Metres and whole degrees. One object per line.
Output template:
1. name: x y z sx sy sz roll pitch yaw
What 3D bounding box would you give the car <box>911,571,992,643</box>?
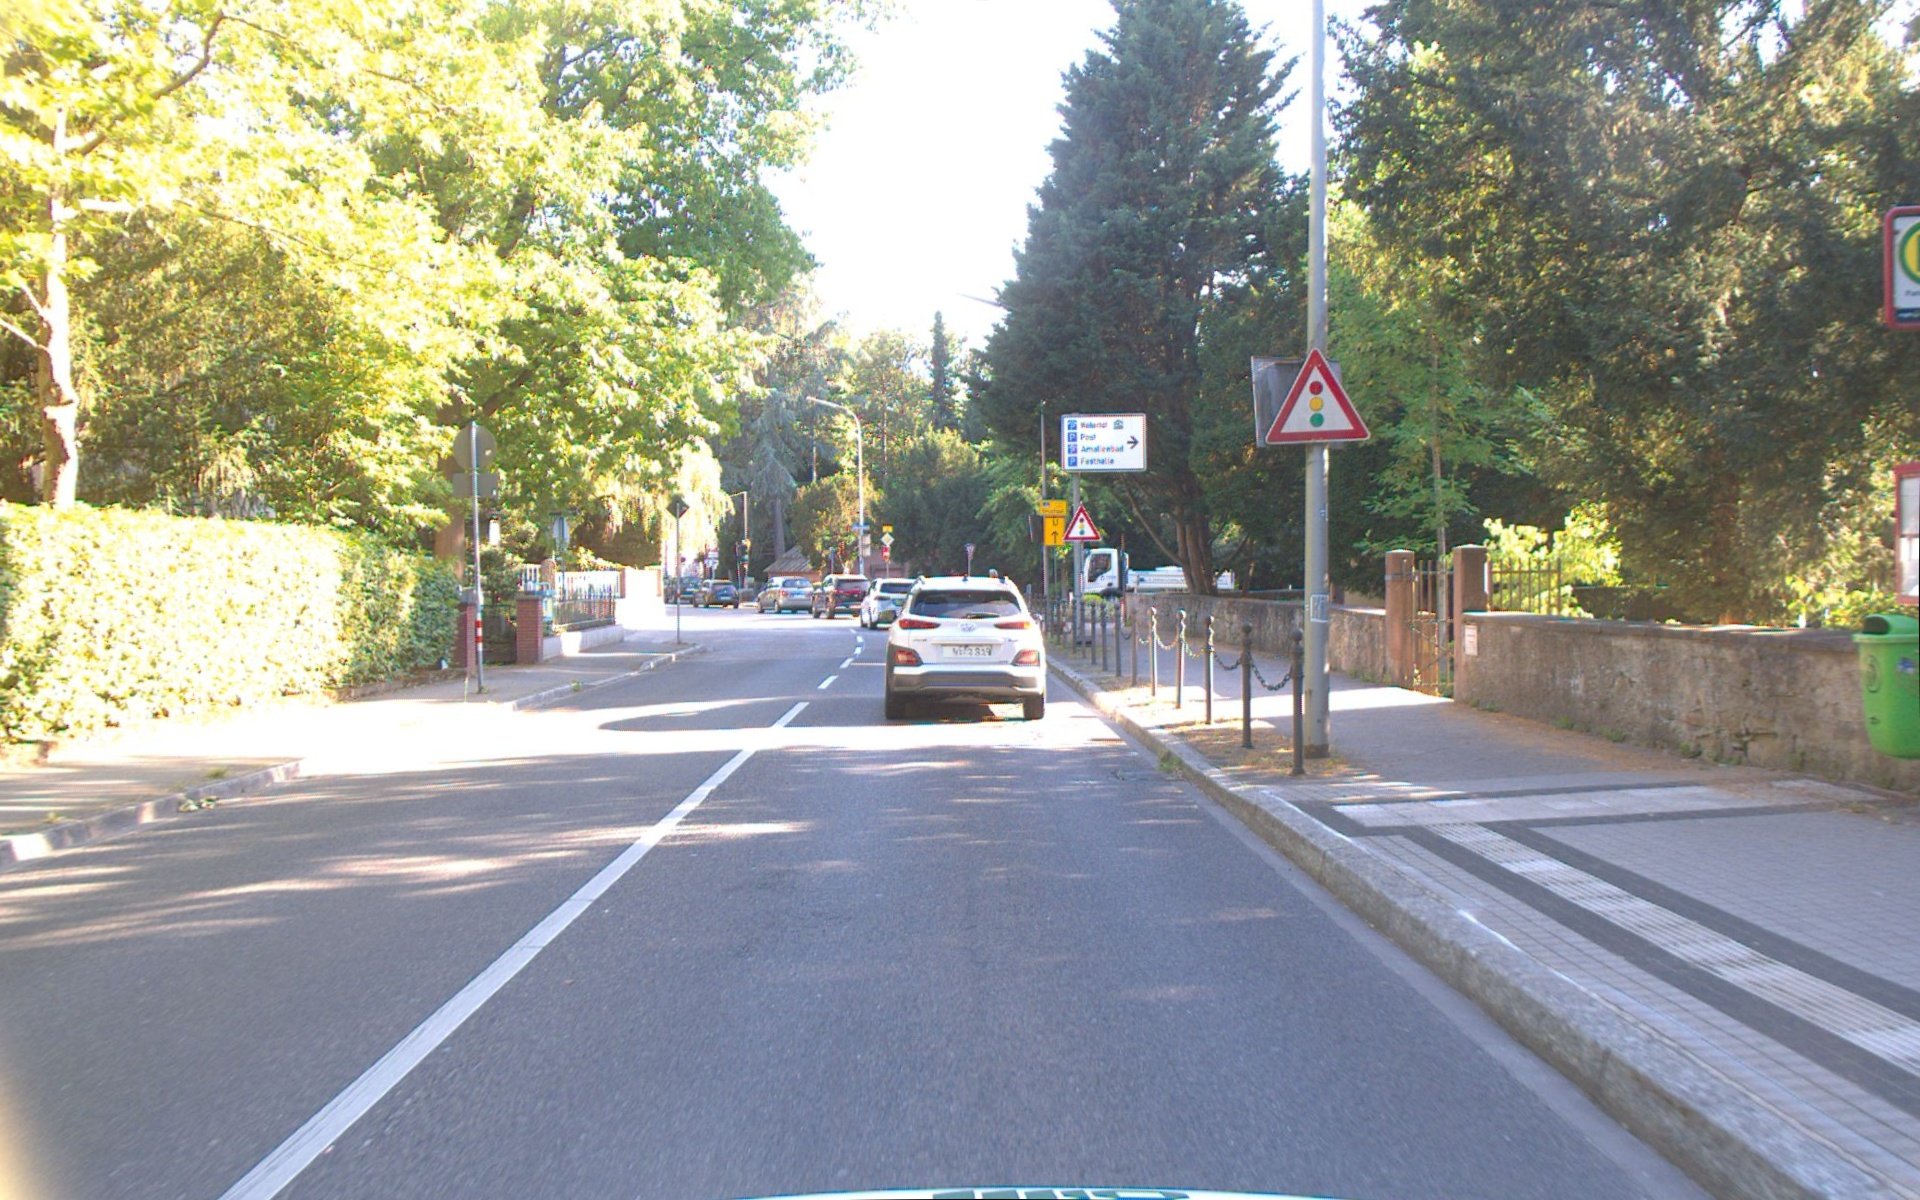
1. car: -0.219 0.117 36.957 1.673 1.459 4.364 1 1 -1

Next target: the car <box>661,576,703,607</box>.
1. car: -16.285 -0.497 96.743 1.804 1.691 3.978 1 1 -19

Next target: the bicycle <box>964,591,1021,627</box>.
1. bicycle: 0.997 0.268 50.808 1.799 1.061 0.554 1 2 -39

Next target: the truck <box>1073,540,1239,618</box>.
1. truck: 7.782 -0.837 66.318 6.449 2.945 2.434 1 1 4

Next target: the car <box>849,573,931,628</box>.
1. car: -2.175 -0.016 50.305 1.774 1.564 3.987 1 1 -13

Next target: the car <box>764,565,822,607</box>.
1. car: -7.366 -0.633 72.571 1.802 1.771 3.982 1 1 -17

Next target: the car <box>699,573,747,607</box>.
1. car: -12.312 -0.532 85.811 1.803 1.691 3.979 1 1 -18

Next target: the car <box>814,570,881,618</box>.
1. car: -4.211 -0.257 61.549 1.801 1.691 3.986 1 1 -14

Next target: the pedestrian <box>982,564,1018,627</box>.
1. pedestrian: 1.218 -0.136 50.412 0.934 1.857 0.547 1 2 -40

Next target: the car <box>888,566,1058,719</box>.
1. car: 0.087 0.427 19.682 1.783 1.601 3.999 1 1 -2
